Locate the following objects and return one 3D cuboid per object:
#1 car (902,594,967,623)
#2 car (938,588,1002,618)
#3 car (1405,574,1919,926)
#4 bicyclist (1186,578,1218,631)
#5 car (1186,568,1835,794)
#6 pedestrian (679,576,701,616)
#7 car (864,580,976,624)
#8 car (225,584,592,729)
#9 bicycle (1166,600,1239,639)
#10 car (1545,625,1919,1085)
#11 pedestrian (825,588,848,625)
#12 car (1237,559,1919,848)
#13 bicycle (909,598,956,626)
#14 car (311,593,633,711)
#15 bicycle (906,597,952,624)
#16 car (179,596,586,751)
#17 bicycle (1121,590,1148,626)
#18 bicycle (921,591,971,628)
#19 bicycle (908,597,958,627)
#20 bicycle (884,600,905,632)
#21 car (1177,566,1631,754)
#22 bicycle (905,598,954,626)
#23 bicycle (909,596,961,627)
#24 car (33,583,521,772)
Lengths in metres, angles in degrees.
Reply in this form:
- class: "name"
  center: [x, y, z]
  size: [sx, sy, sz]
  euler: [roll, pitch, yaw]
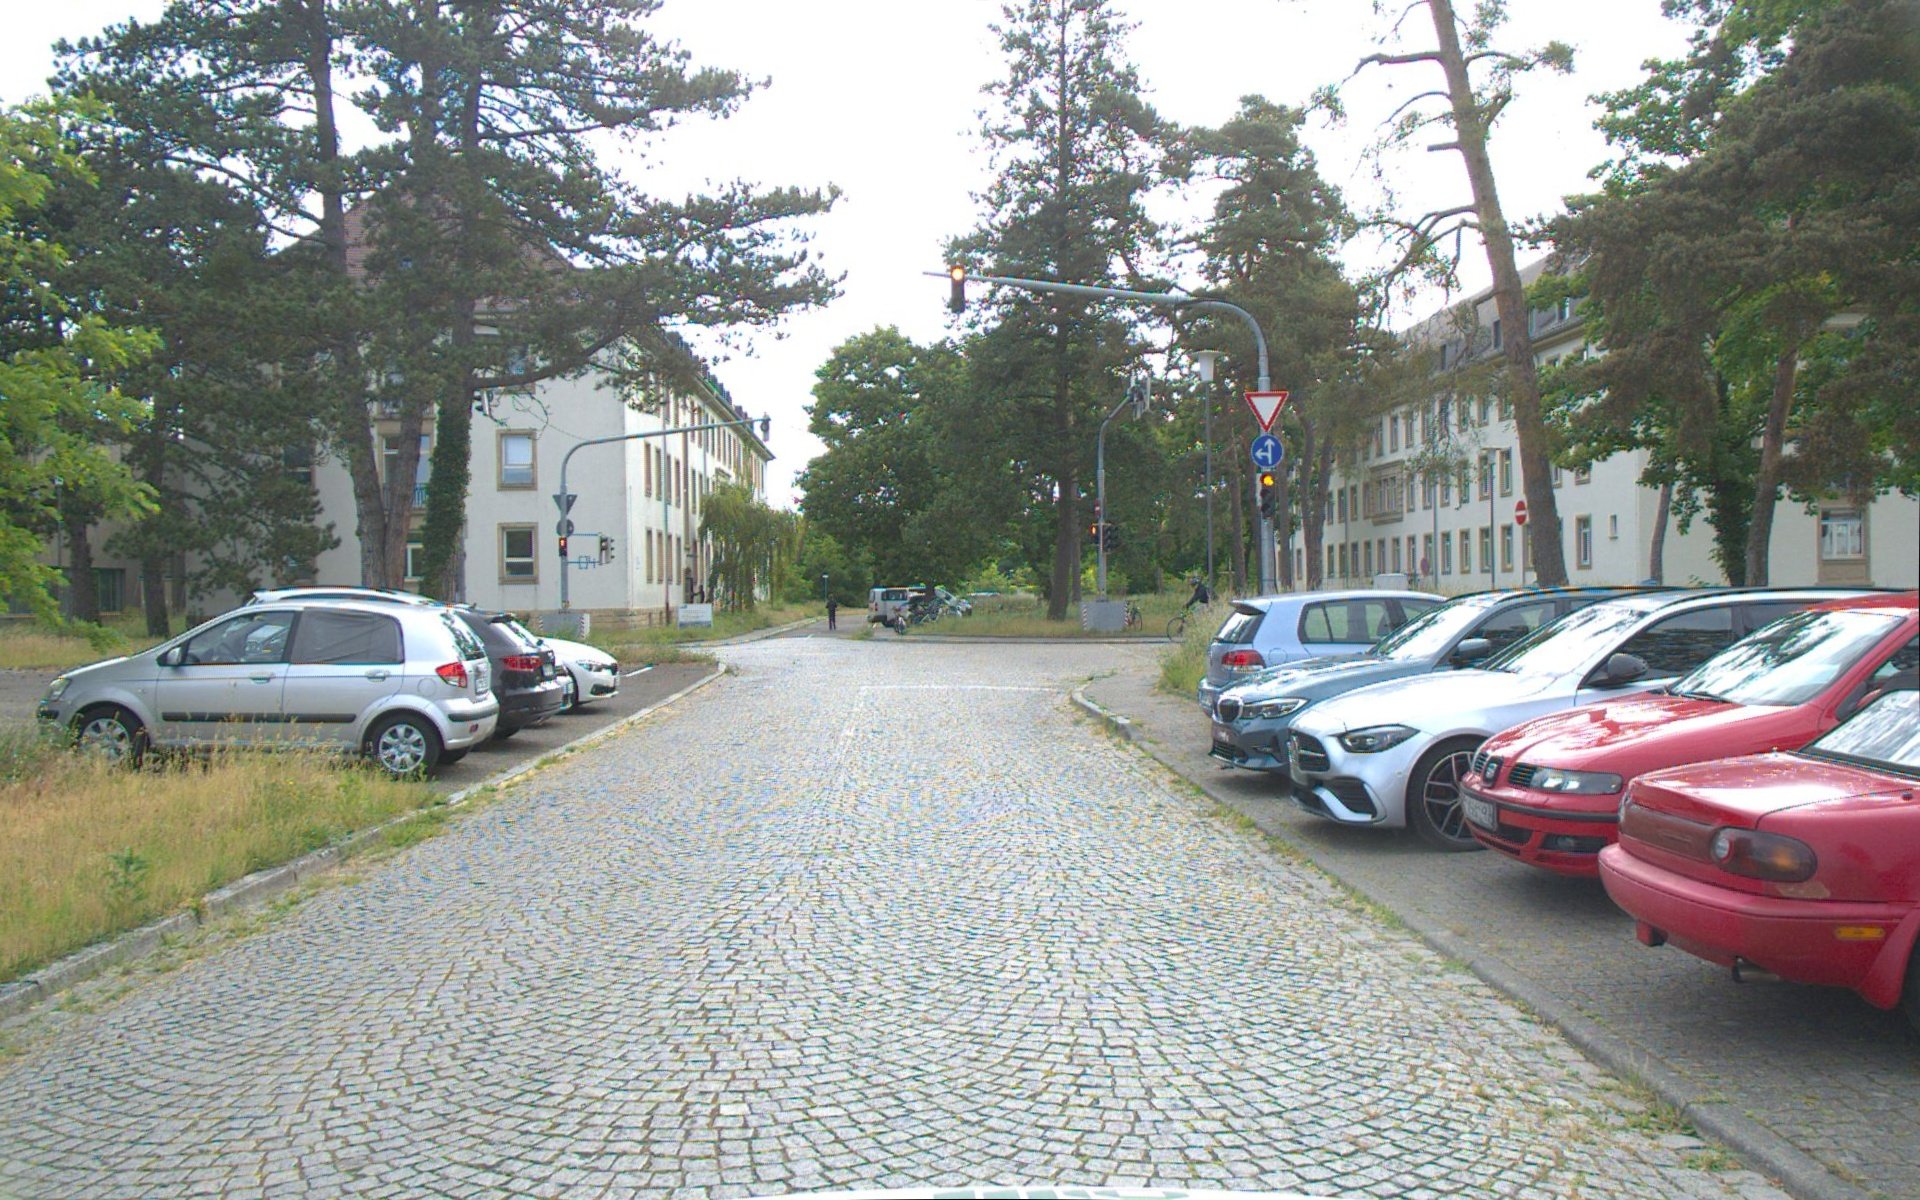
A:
- class: "car"
  center: [-1.224, 0.380, 79.195]
  size: [2.949, 1.290, 1.532]
  euler: [-1, 0, -8]
- class: "car"
  center: [0.511, 0.145, 86.536]
  size: [3.169, 1.441, 1.723]
  euler: [-1, 0, -5]
- class: "car"
  center: [4.651, 0.624, 8.457]
  size: [4.177, 1.441, 1.870]
  euler: [-3, 0, -3]
- class: "bicyclist"
  center: [6.719, 0.122, 45.946]
  size: [0.734, 1.435, 0.605]
  euler: [-1, 0, -2]
- class: "car"
  center: [4.315, 0.595, 13.400]
  size: [4.590, 1.441, 1.869]
  euler: [-3, 0, -5]
- class: "pedestrian"
  center: [-13.011, -0.197, 79.739]
  size: [0.767, 1.869, 0.732]
  euler: [-1, 0, -34]
- class: "car"
  center: [-2.023, 0.098, 82.548]
  size: [5.266, 1.958, 2.019]
  euler: [-3, 0, -11]
- class: "car"
  center: [-6.547, 0.657, 19.976]
  size: [3.871, 1.590, 1.648]
  euler: [2, 0, -5]
- class: "bicycle"
  center: [6.729, 0.532, 45.948]
  size: [1.916, 1.042, 0.605]
  euler: [-1, 0, -3]
- class: "car"
  center: [4.338, 0.720, 5.958]
  size: [3.786, 1.257, 1.757]
  euler: [-3, 0, -4]
- class: "pedestrian"
  center: [-5.547, 0.301, 74.263]
  size: [0.731, 1.646, 0.768]
  euler: [-1, 0, -32]
- class: "car"
  center: [4.201, 0.569, 10.707]
  size: [4.344, 1.441, 1.866]
  euler: [-3, 0, -11]
- class: "bicycle"
  center: [-1.123, 0.475, 67.960]
  size: [1.936, 1.088, 0.581]
  euler: [-1, 0, -32]
- class: "car"
  center: [-6.554, 0.681, 22.514]
  size: [3.869, 1.446, 1.649]
  euler: [2, 0, -3]
- class: "bicycle"
  center: [-1.340, 0.448, 71.639]
  size: [1.932, 1.088, 0.583]
  euler: [-1, 0, -27]
- class: "car"
  center: [-5.894, 0.735, 17.217]
  size: [3.673, 1.453, 1.581]
  euler: [2, 0, -5]
- class: "bicycle"
  center: [5.538, 0.235, 52.655]
  size: [0.574, 1.125, 1.960]
  euler: [-1, 0, -2]
- class: "bicycle"
  center: [-0.565, 0.366, 65.980]
  size: [1.919, 1.408, 0.587]
  euler: [-1, 0, -9]
- class: "bicycle"
  center: [-1.063, 0.461, 65.128]
  size: [1.919, 1.136, 0.587]
  euler: [-1, 0, -9]
- class: "bicycle"
  center: [-2.431, 0.585, 61.239]
  size: [0.591, 1.152, 1.958]
  euler: [-1, 0, -8]
- class: "car"
  center: [4.149, 0.536, 15.846]
  size: [3.847, 1.503, 1.642]
  euler: [-3, 0, -1]
- class: "bicycle"
  center: [-1.222, 0.481, 66.606]
  size: [1.936, 1.088, 0.581]
  euler: [-1, 0, -32]
- class: "bicycle"
  center: [-0.977, 0.439, 64.498]
  size: [1.919, 1.152, 0.587]
  euler: [-1, 0, -9]
- class: "car"
  center: [-5.891, 0.653, 14.618]
  size: [3.631, 1.505, 1.581]
  euler: [2, 0, -5]
